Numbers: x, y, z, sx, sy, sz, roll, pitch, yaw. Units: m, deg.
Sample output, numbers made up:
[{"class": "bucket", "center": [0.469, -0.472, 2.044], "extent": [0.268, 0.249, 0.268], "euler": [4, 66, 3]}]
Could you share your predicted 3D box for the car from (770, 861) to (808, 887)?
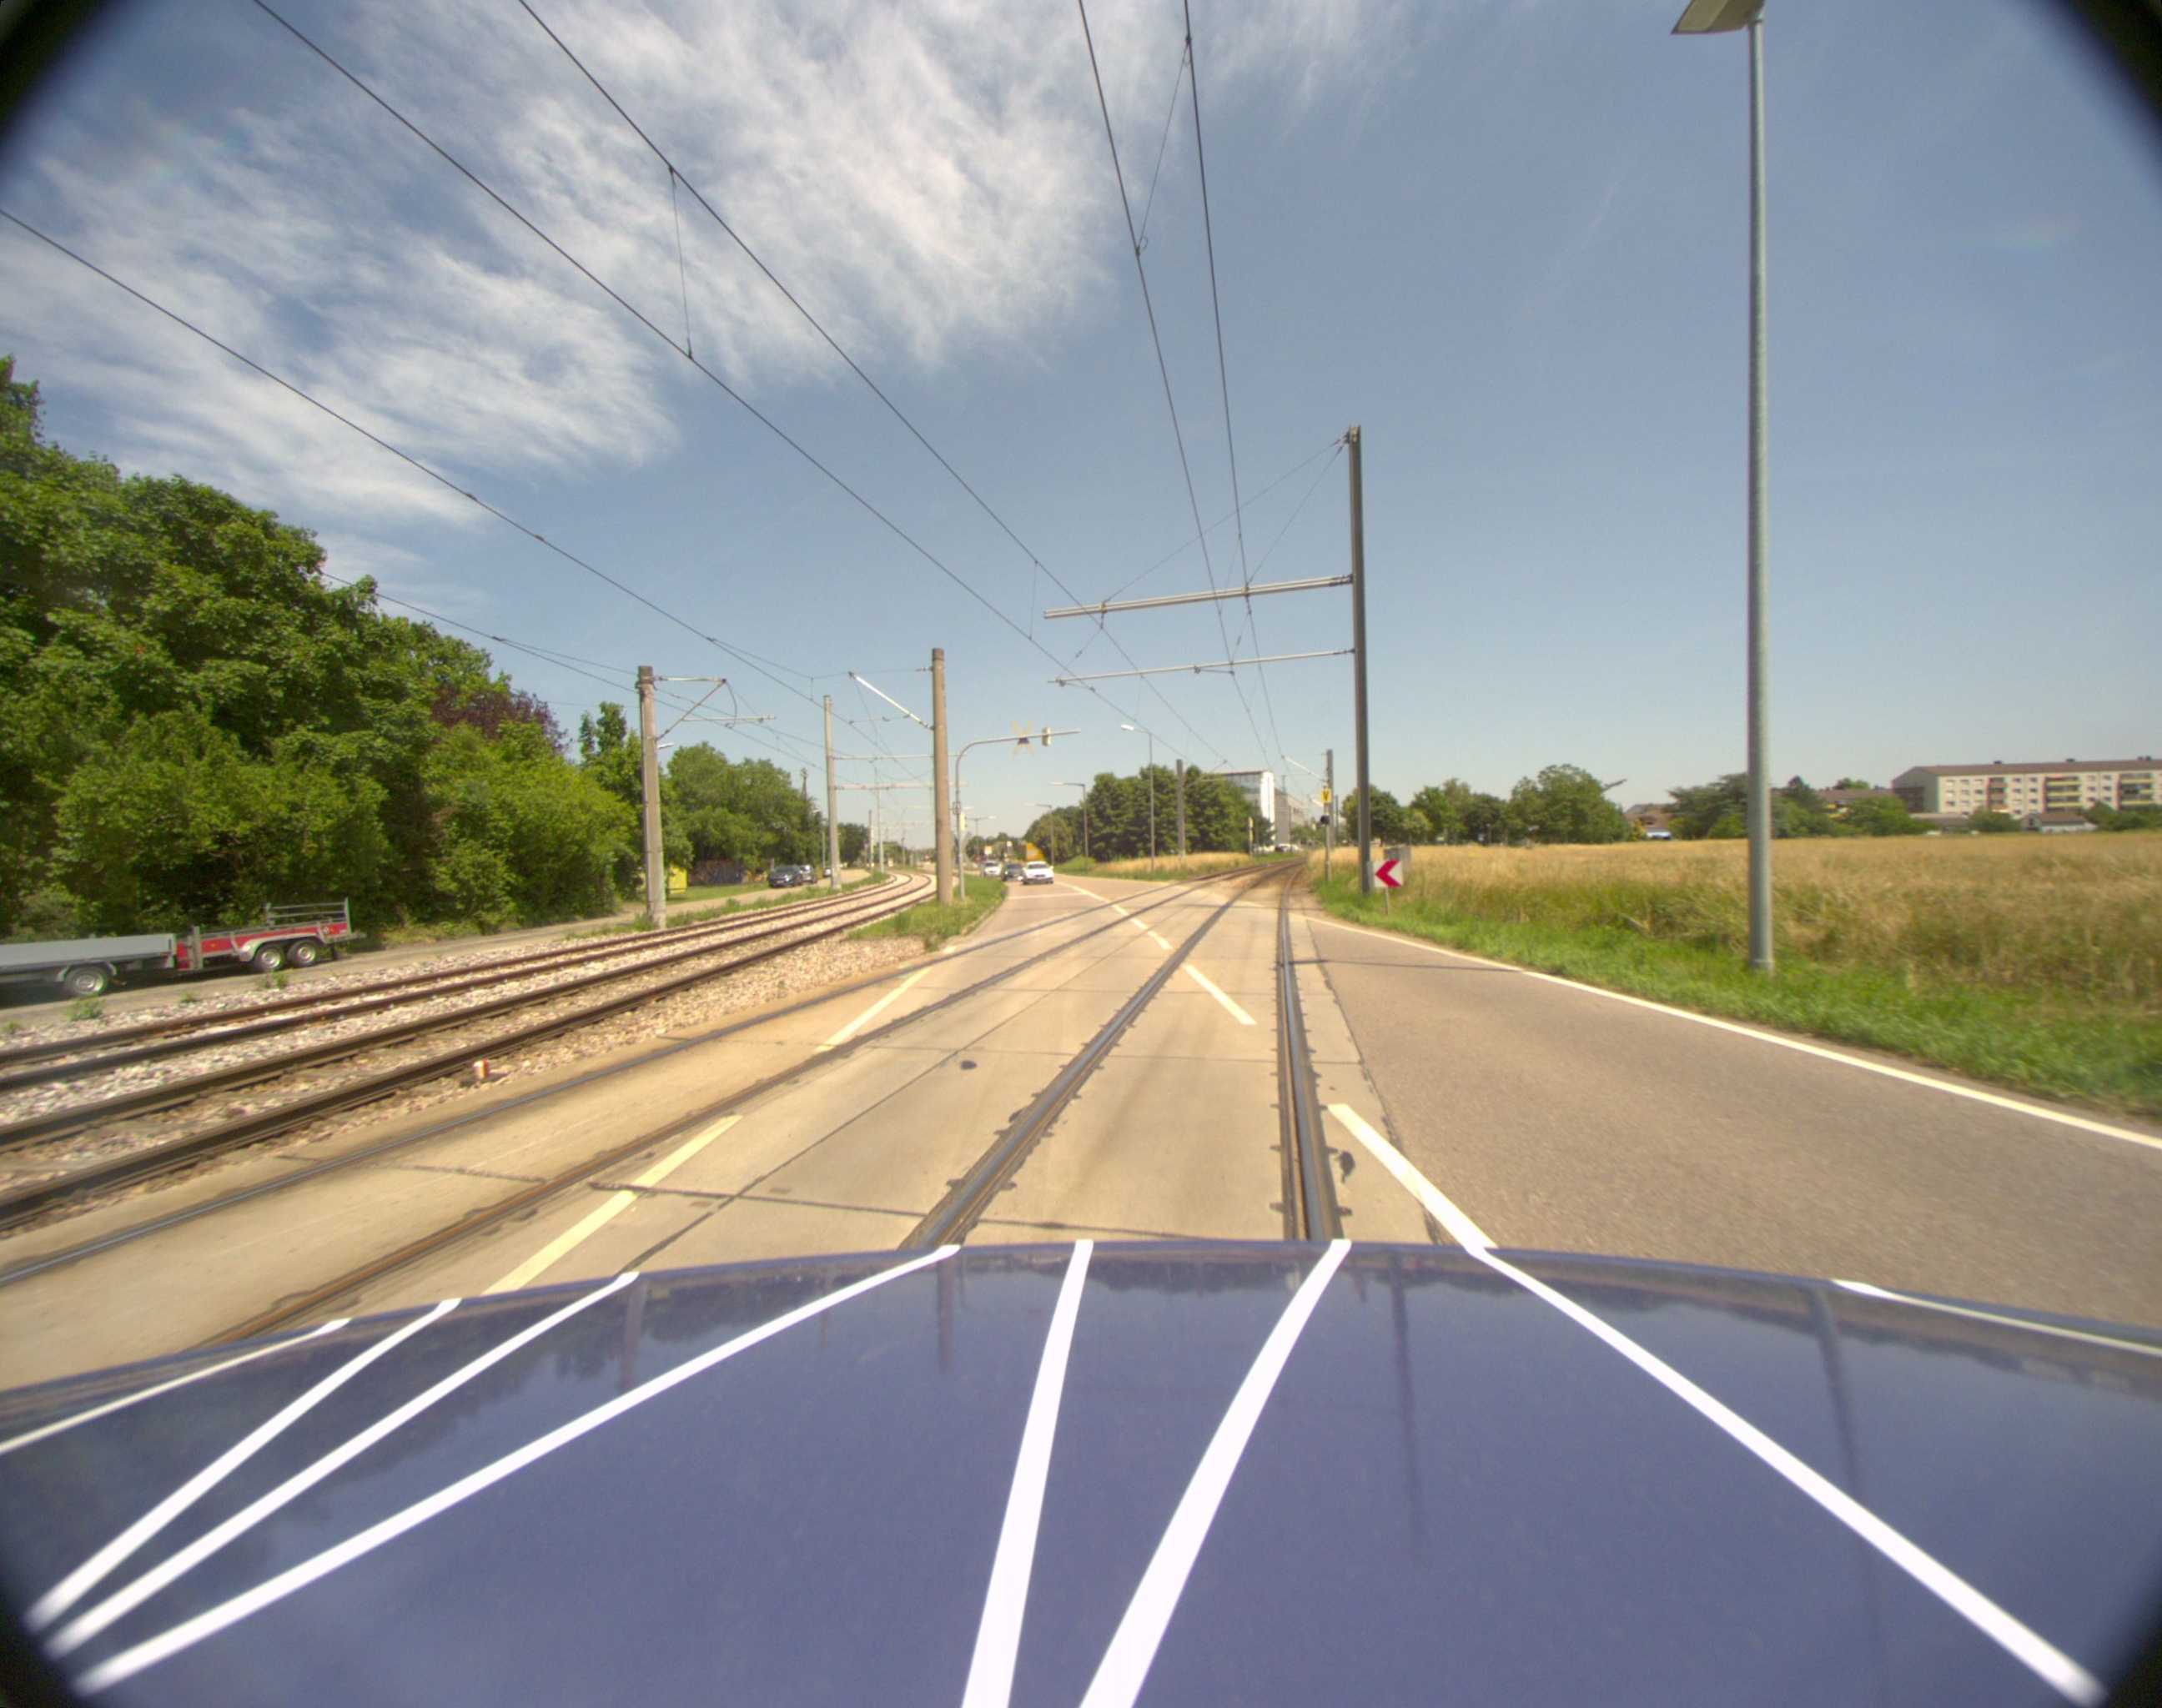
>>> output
[{"class": "car", "center": [-22.112, 1.481, 57.736], "extent": [1.834, 1.647, 4.810], "euler": [-2, 1, -11]}]

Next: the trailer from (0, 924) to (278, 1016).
[{"class": "trailer", "center": [-16.106, 1.872, 12.510], "extent": [1.422, 0.989, 4.000], "euler": [-4, 0, 1]}]

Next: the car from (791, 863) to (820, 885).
[{"class": "car", "center": [-23.082, 1.631, 63.787], "extent": [1.682, 1.615, 4.704], "euler": [-2, 1, -14]}]

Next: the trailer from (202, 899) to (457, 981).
[{"class": "trailer", "center": [-16.016, 1.762, 16.529], "extent": [1.465, 1.215, 3.999], "euler": [-1, 1, 1]}]

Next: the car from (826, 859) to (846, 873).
[{"class": "car", "center": [-28.011, 1.362, 86.900], "extent": [1.686, 1.406, 4.544], "euler": [-2, 1, -13]}]

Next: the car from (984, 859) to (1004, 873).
[{"class": "car", "center": [-9.928, 1.339, 86.508], "extent": [1.811, 1.465, 3.507], "euler": [-2, 1, -15]}]

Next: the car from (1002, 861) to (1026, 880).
[{"class": "car", "center": [-5.617, 1.331, 63.365], "extent": [1.511, 1.423, 3.354], "euler": [-2, 1, -14]}]

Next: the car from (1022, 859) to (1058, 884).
[{"class": "car", "center": [-2.705, 1.098, 49.371], "extent": [1.773, 1.434, 4.124], "euler": [-2, 1, -11]}]
